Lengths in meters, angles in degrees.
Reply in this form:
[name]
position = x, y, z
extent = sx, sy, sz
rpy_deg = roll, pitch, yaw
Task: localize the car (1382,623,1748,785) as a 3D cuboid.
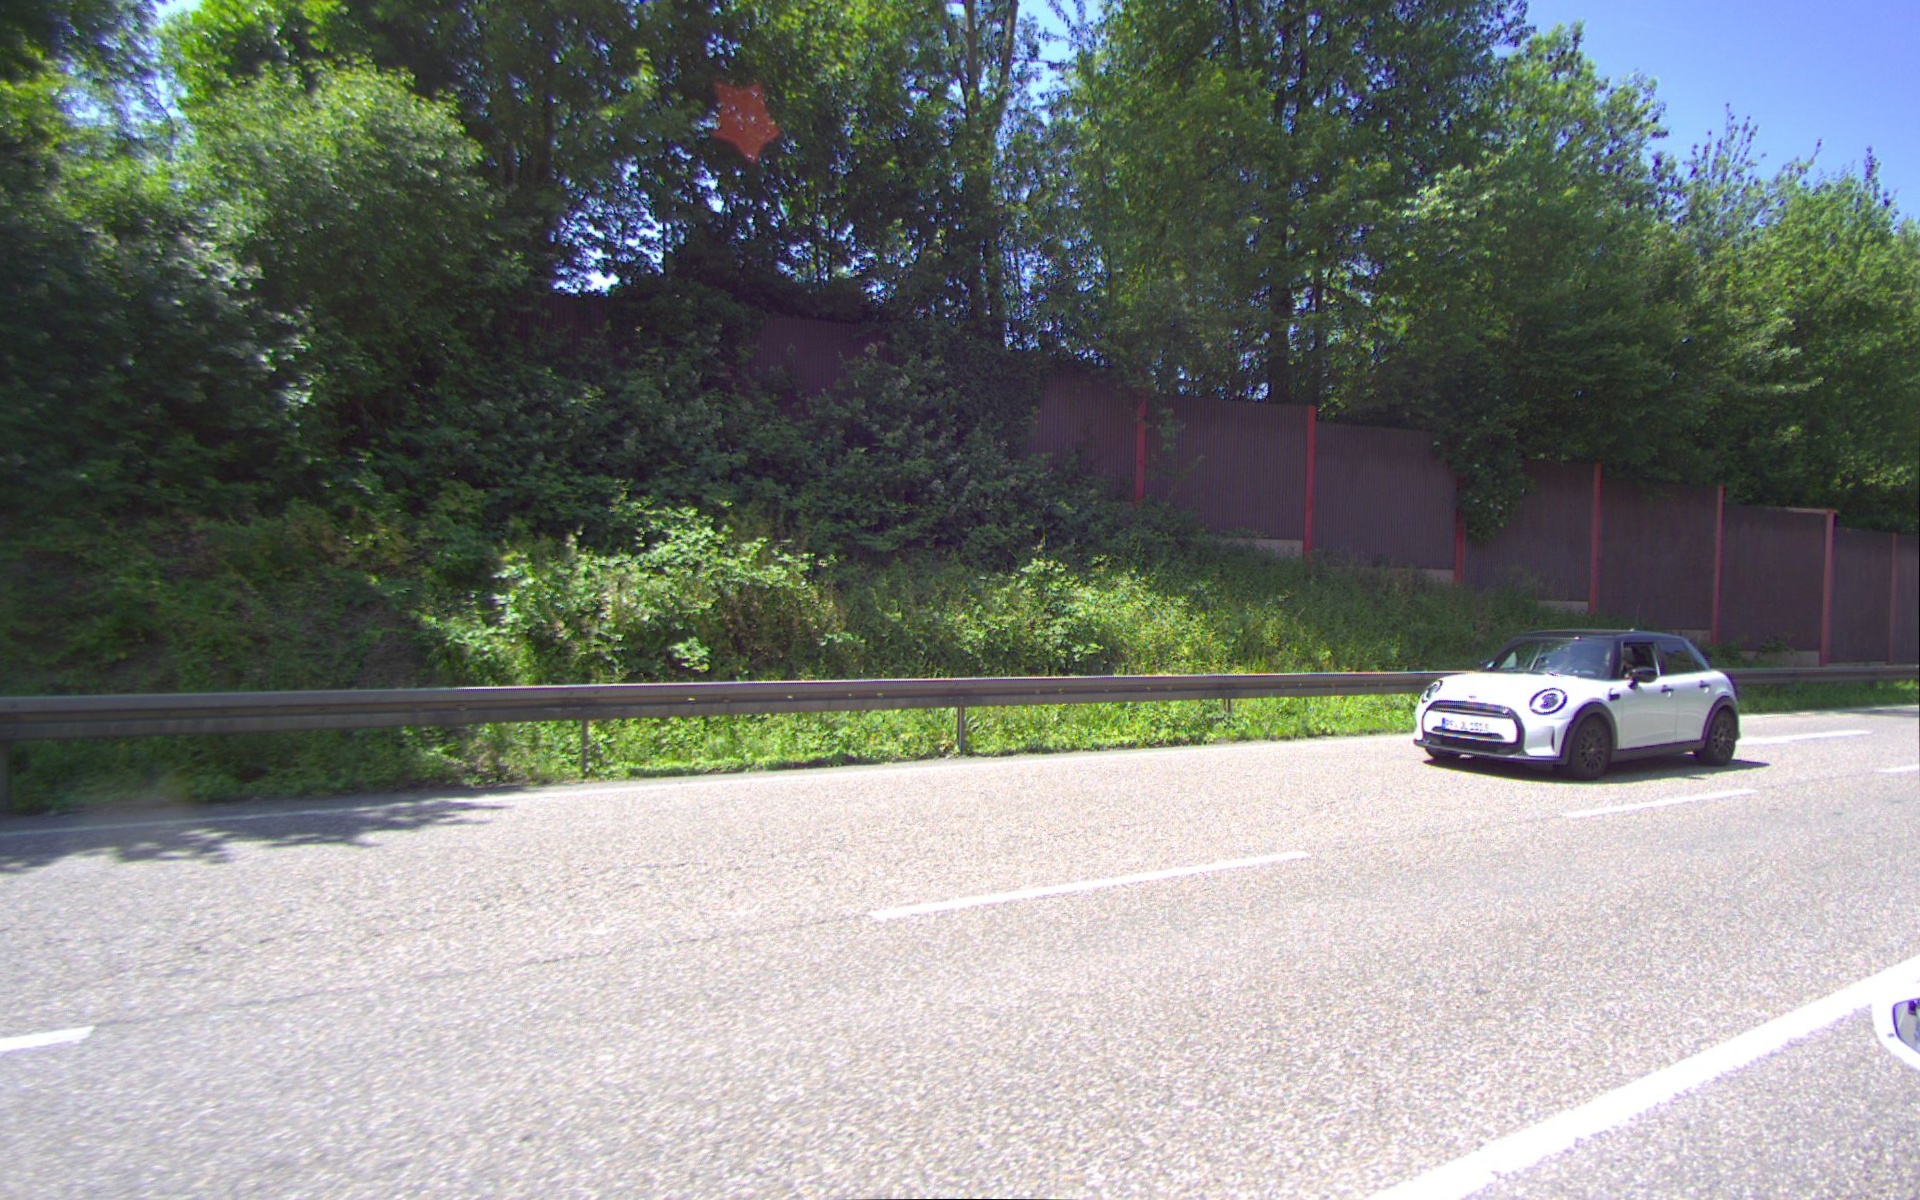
[car]
position = 6.600, 0.999, 10.902
extent = 3.825, 1.454, 1.798
rpy_deg = 1, -1, -30
